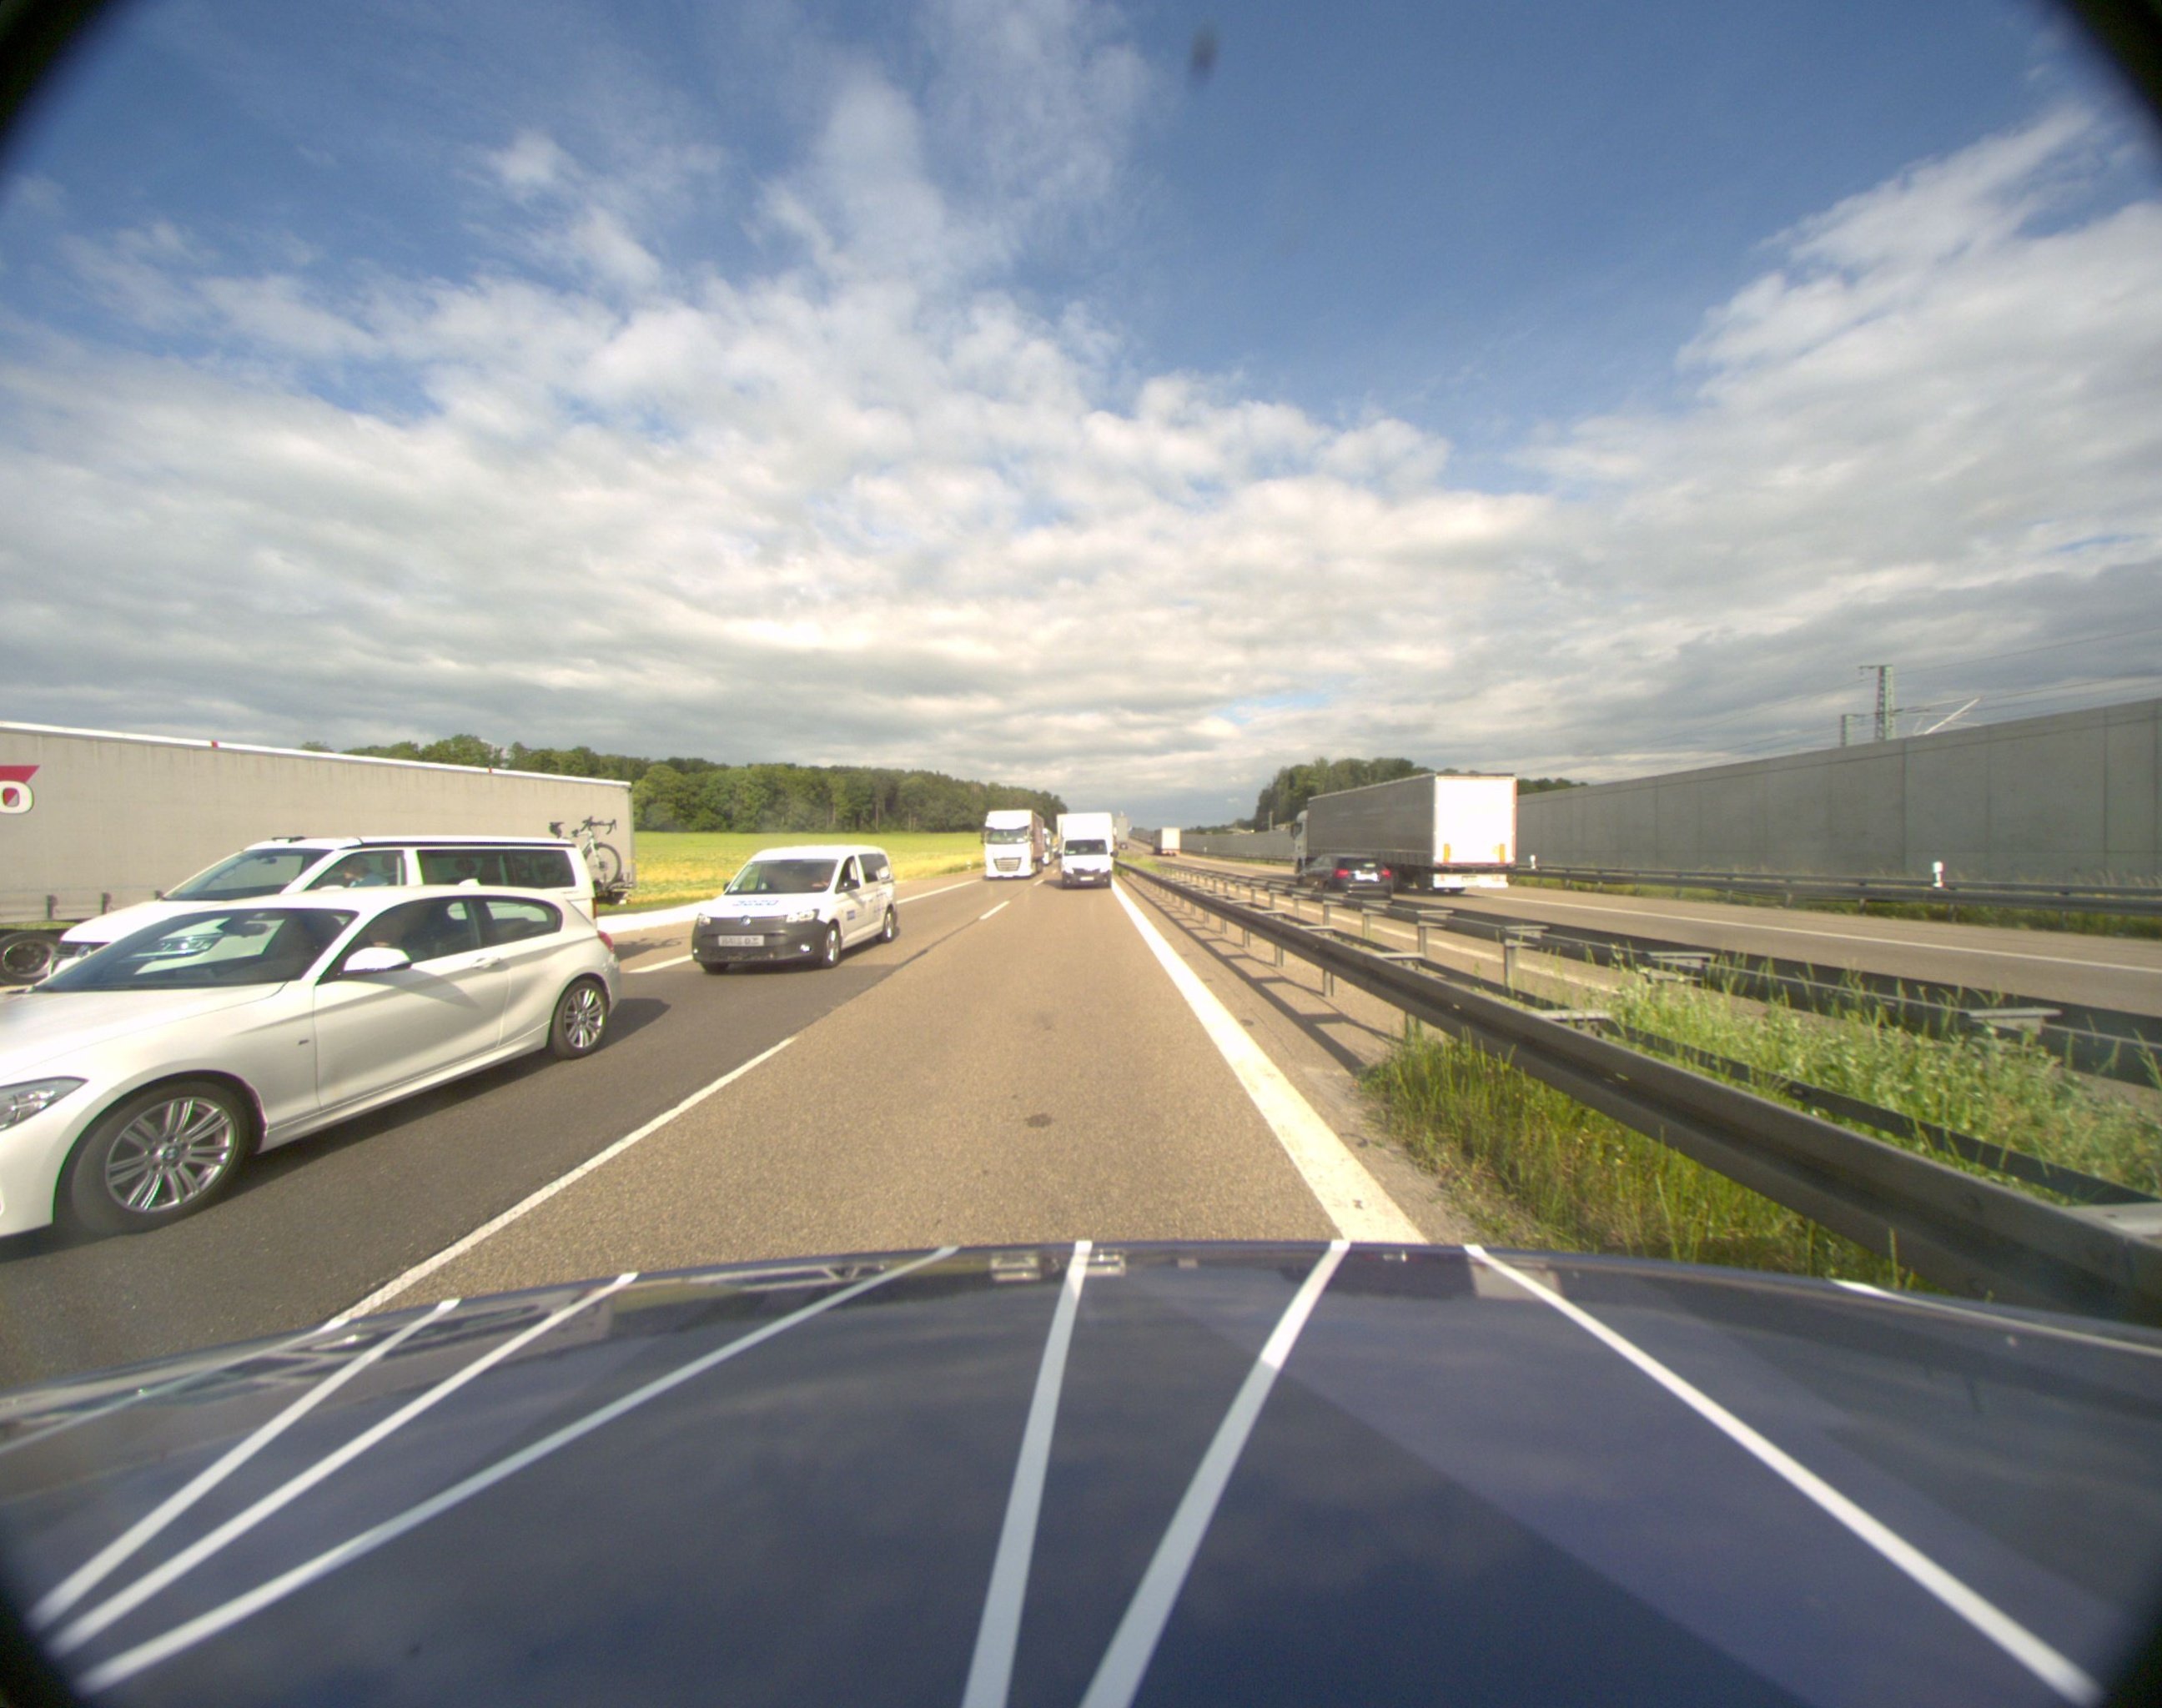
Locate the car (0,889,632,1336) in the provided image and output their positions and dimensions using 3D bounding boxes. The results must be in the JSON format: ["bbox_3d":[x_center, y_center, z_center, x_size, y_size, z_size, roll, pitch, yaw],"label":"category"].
[{"bbox_3d":[-4.801,1.064,4.479,1.708,1.424,4.232,-2,0,1],"label":"car"}]

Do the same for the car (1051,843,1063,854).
[{"bbox_3d":[-4.062,-0.945,129.173,1.707,1.746,4.676,-2,0,1],"label":"car"}]

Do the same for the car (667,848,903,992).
[{"bbox_3d":[-4.295,0.821,11.959,1.729,1.746,4.702,-2,0,1],"label":"car"}]

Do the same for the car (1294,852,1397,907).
[{"bbox_3d":[7.762,0.703,22.704,1.656,1.443,3.955,-1,1,0],"label":"car"}]

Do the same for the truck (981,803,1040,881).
[{"bbox_3d":[-4.026,-0.710,44.674,2.736,4.150,5.766,-2,1,0],"label":"truck"}]

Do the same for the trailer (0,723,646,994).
[{"bbox_3d":[-16.482,0.051,16.773,2.739,4.136,13.843,-2,0,15],"label":"trailer"}]

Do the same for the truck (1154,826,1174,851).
[{"bbox_3d":[13.398,-2.466,123.498,2.692,4.045,5.878,0,1,1],"label":"truck"}]

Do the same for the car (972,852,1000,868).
[{"bbox_3d":[-8.942,0.528,71.866,1.871,1.424,4.630,-2,0,1],"label":"car"}]

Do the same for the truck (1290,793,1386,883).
[{"bbox_3d":[12.401,-0.749,37.142,2.783,4.064,5.531,1,1,0],"label":"truck"}]

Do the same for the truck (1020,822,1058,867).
[{"bbox_3d":[-4.085,-0.898,76.588,2.946,4.094,12.523,-1,0,0],"label":"truck"}]

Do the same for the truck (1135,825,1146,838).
[{"bbox_3d":[20.186,-7.668,258.432,2.952,4.037,11.745,-2,1,0],"label":"truck"}]

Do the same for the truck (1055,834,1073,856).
[{"bbox_3d":[-3.157,-1.687,146.595,2.946,4.094,16.207,-1,0,0],"label":"truck"}]

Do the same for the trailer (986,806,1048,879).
[{"bbox_3d":[-3.986,-0.825,50.944,2.742,4.137,14.016,-2,1,0],"label":"trailer"}]

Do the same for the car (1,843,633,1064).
[{"bbox_3d":[-8.471,0.874,9.409,1.798,1.914,5.271,-2,1,13],"label":"car"}]

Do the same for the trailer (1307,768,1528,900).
[{"bbox_3d":[12.373,-0.679,30.160,2.797,4.054,13.518,0,1,0],"label":"trailer"}]

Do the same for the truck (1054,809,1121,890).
[{"bbox_3d":[0.294,-0.211,35.605,2.500,3.082,12.037,-2,0,0],"label":"truck"}]

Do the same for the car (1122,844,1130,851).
[{"bbox_3d":[9.602,-1.418,162.504,1.637,1.393,3.896,-1,0,0],"label":"car"}]

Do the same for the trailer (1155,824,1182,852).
[{"bbox_3d":[13.374,-2.426,117.011,2.690,4.014,13.790,-1,0,0],"label":"trailer"}]
